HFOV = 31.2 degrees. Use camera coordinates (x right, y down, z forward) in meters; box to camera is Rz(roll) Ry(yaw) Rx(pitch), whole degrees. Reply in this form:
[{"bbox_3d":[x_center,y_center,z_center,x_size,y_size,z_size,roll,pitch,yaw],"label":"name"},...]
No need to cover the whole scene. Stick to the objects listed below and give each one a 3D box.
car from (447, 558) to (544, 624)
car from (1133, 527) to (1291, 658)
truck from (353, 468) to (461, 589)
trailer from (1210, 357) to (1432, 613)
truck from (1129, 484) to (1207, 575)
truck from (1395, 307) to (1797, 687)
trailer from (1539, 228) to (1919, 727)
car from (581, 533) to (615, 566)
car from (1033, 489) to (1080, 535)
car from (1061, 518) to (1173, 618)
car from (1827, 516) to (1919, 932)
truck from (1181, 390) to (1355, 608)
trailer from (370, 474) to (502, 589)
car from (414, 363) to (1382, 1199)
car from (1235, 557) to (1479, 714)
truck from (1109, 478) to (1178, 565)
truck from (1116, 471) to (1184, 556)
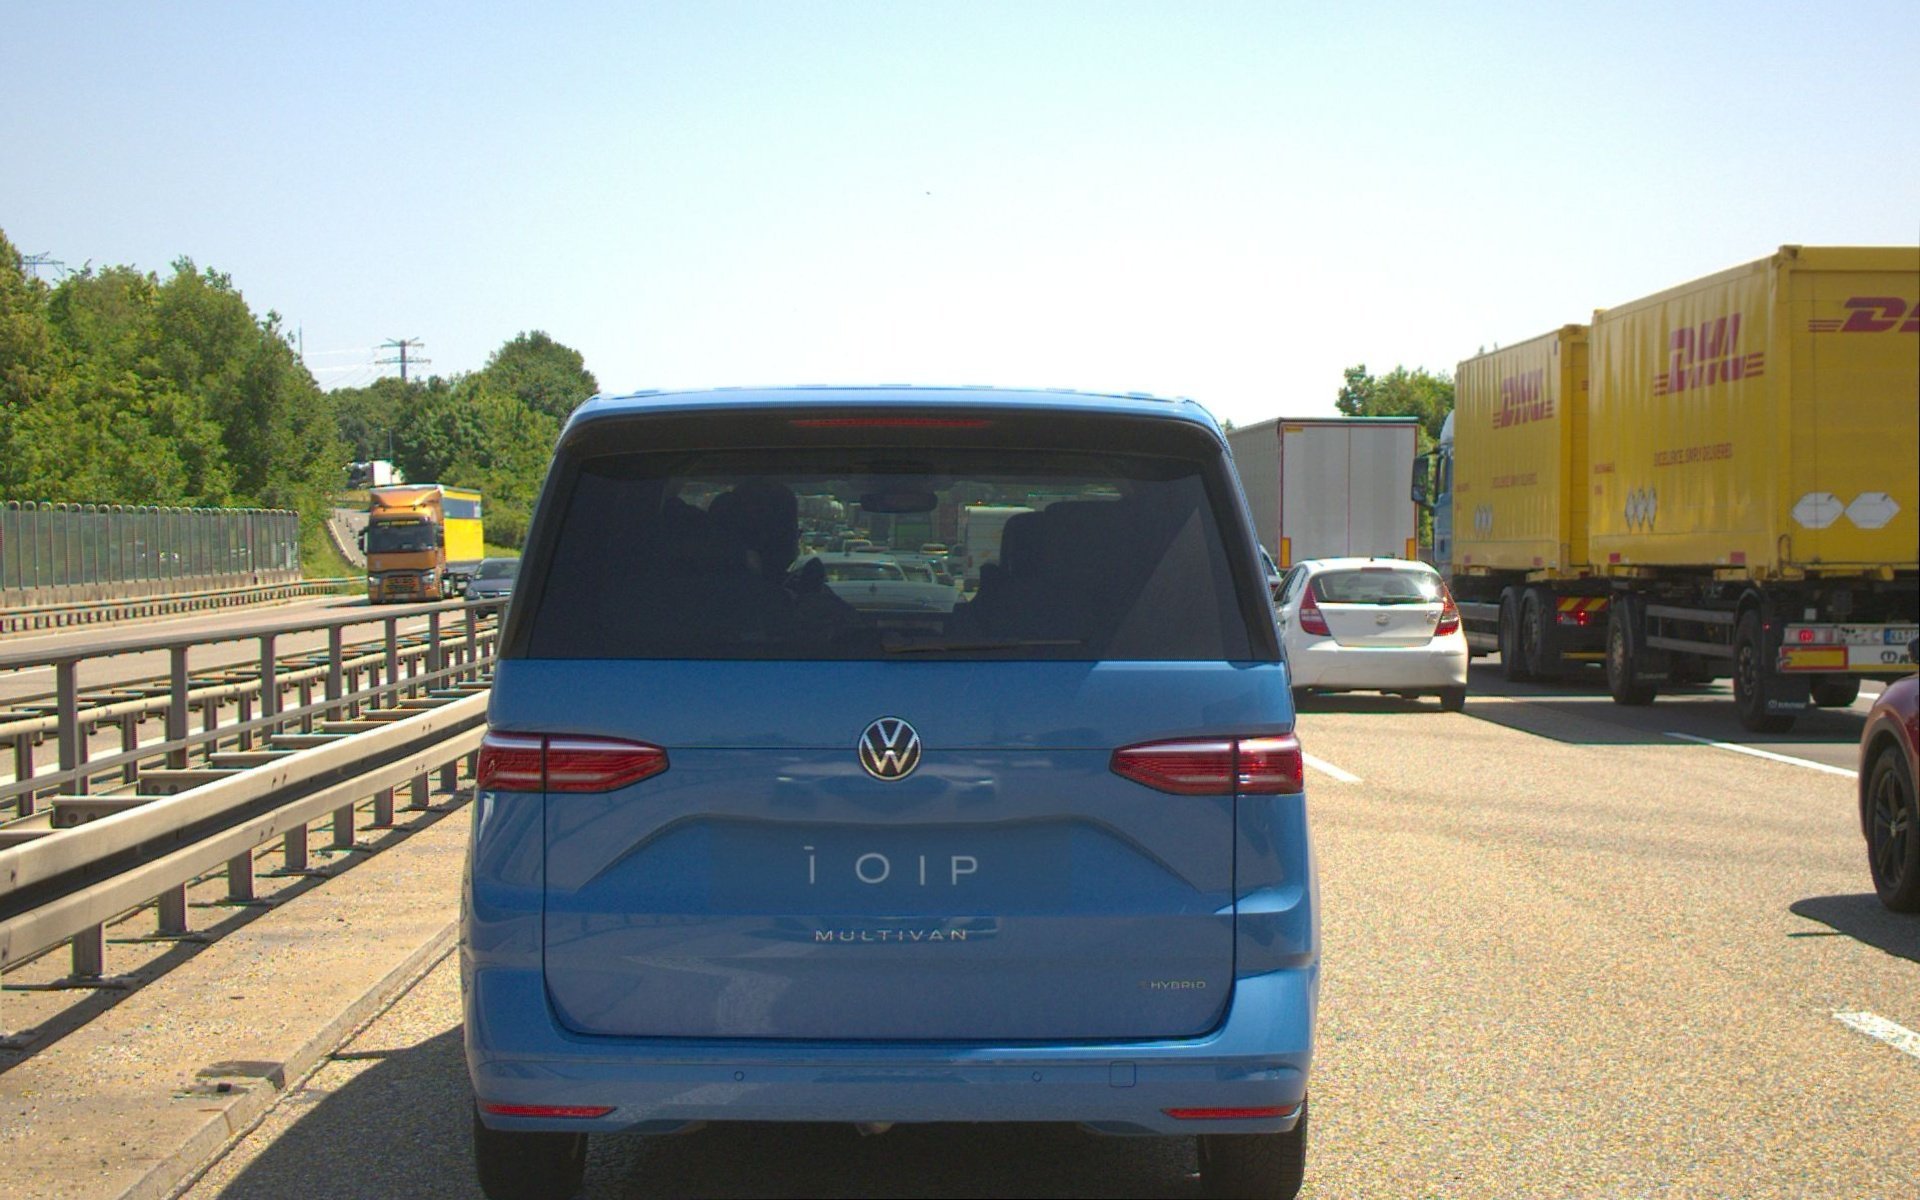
[{"bbox_3d":[-11.240,-0.245,83.415,1.762,1.503,4.223,-1,1,0],"label":"car"},{"bbox_3d":[3.373,-0.108,46.670,1.815,1.673,3.932,1,0,0],"label":"car"},{"bbox_3d":[-19.658,-2.497,122.511,2.672,4.171,6.287,-1,0,1],"label":"truck"},{"bbox_3d":[6.939,-2.116,67.803,3.026,4.595,10.925,1,0,-1],"label":"trailer"},{"bbox_3d":[5.710,-1.912,94.781,1.798,2.441,4.504,1,0,-1],"label":"truck"},{"bbox_3d":[7.526,-1.147,42.236,2.699,4.074,9.941,1,0,-2],"label":"truck"},{"bbox_3d":[7.818,-1.018,32.716,2.682,4.074,8.981,1,0,-2],"label":"trailer"},{"bbox_3d":[-23.512,-3.269,223.223,1.842,2.035,3.943,1,0,-1],"label":"car"},{"bbox_3d":[4.477,-4.078,159.874,1.993,2.007,4.000,1,0,-1],"label":"car"},{"bbox_3d":[3.140,-0.639,69.409,1.962,1.929,3.932,1,0,-1],"label":"car"},{"bbox_3d":[4.752,0.515,12.991,1.708,1.673,4.285,0,1,-2],"label":"car"},{"bbox_3d":[6.818,-2.168,77.233,3.026,4.595,7.921,1,0,-1],"label":"truck"},{"bbox_3d":[-19.559,-2.471,129.166,2.628,4.100,14.016,0,0,1],"label":"trailer"},{"bbox_3d":[-0.165,0.458,8.947,1.930,1.867,4.000,1,0,-1],"label":"car"},{"bbox_3d":[3.936,0.325,34.685,1.815,1.465,3.932,1,0,-3],"label":"car"},{"bbox_3d":[5.512,-2.341,103.675,1.742,2.540,4.210,1,0,-1],"label":"truck"},{"bbox_3d":[5.991,-2.720,108.790,1.797,2.587,4.306,1,0,-1],"label":"truck"}]
